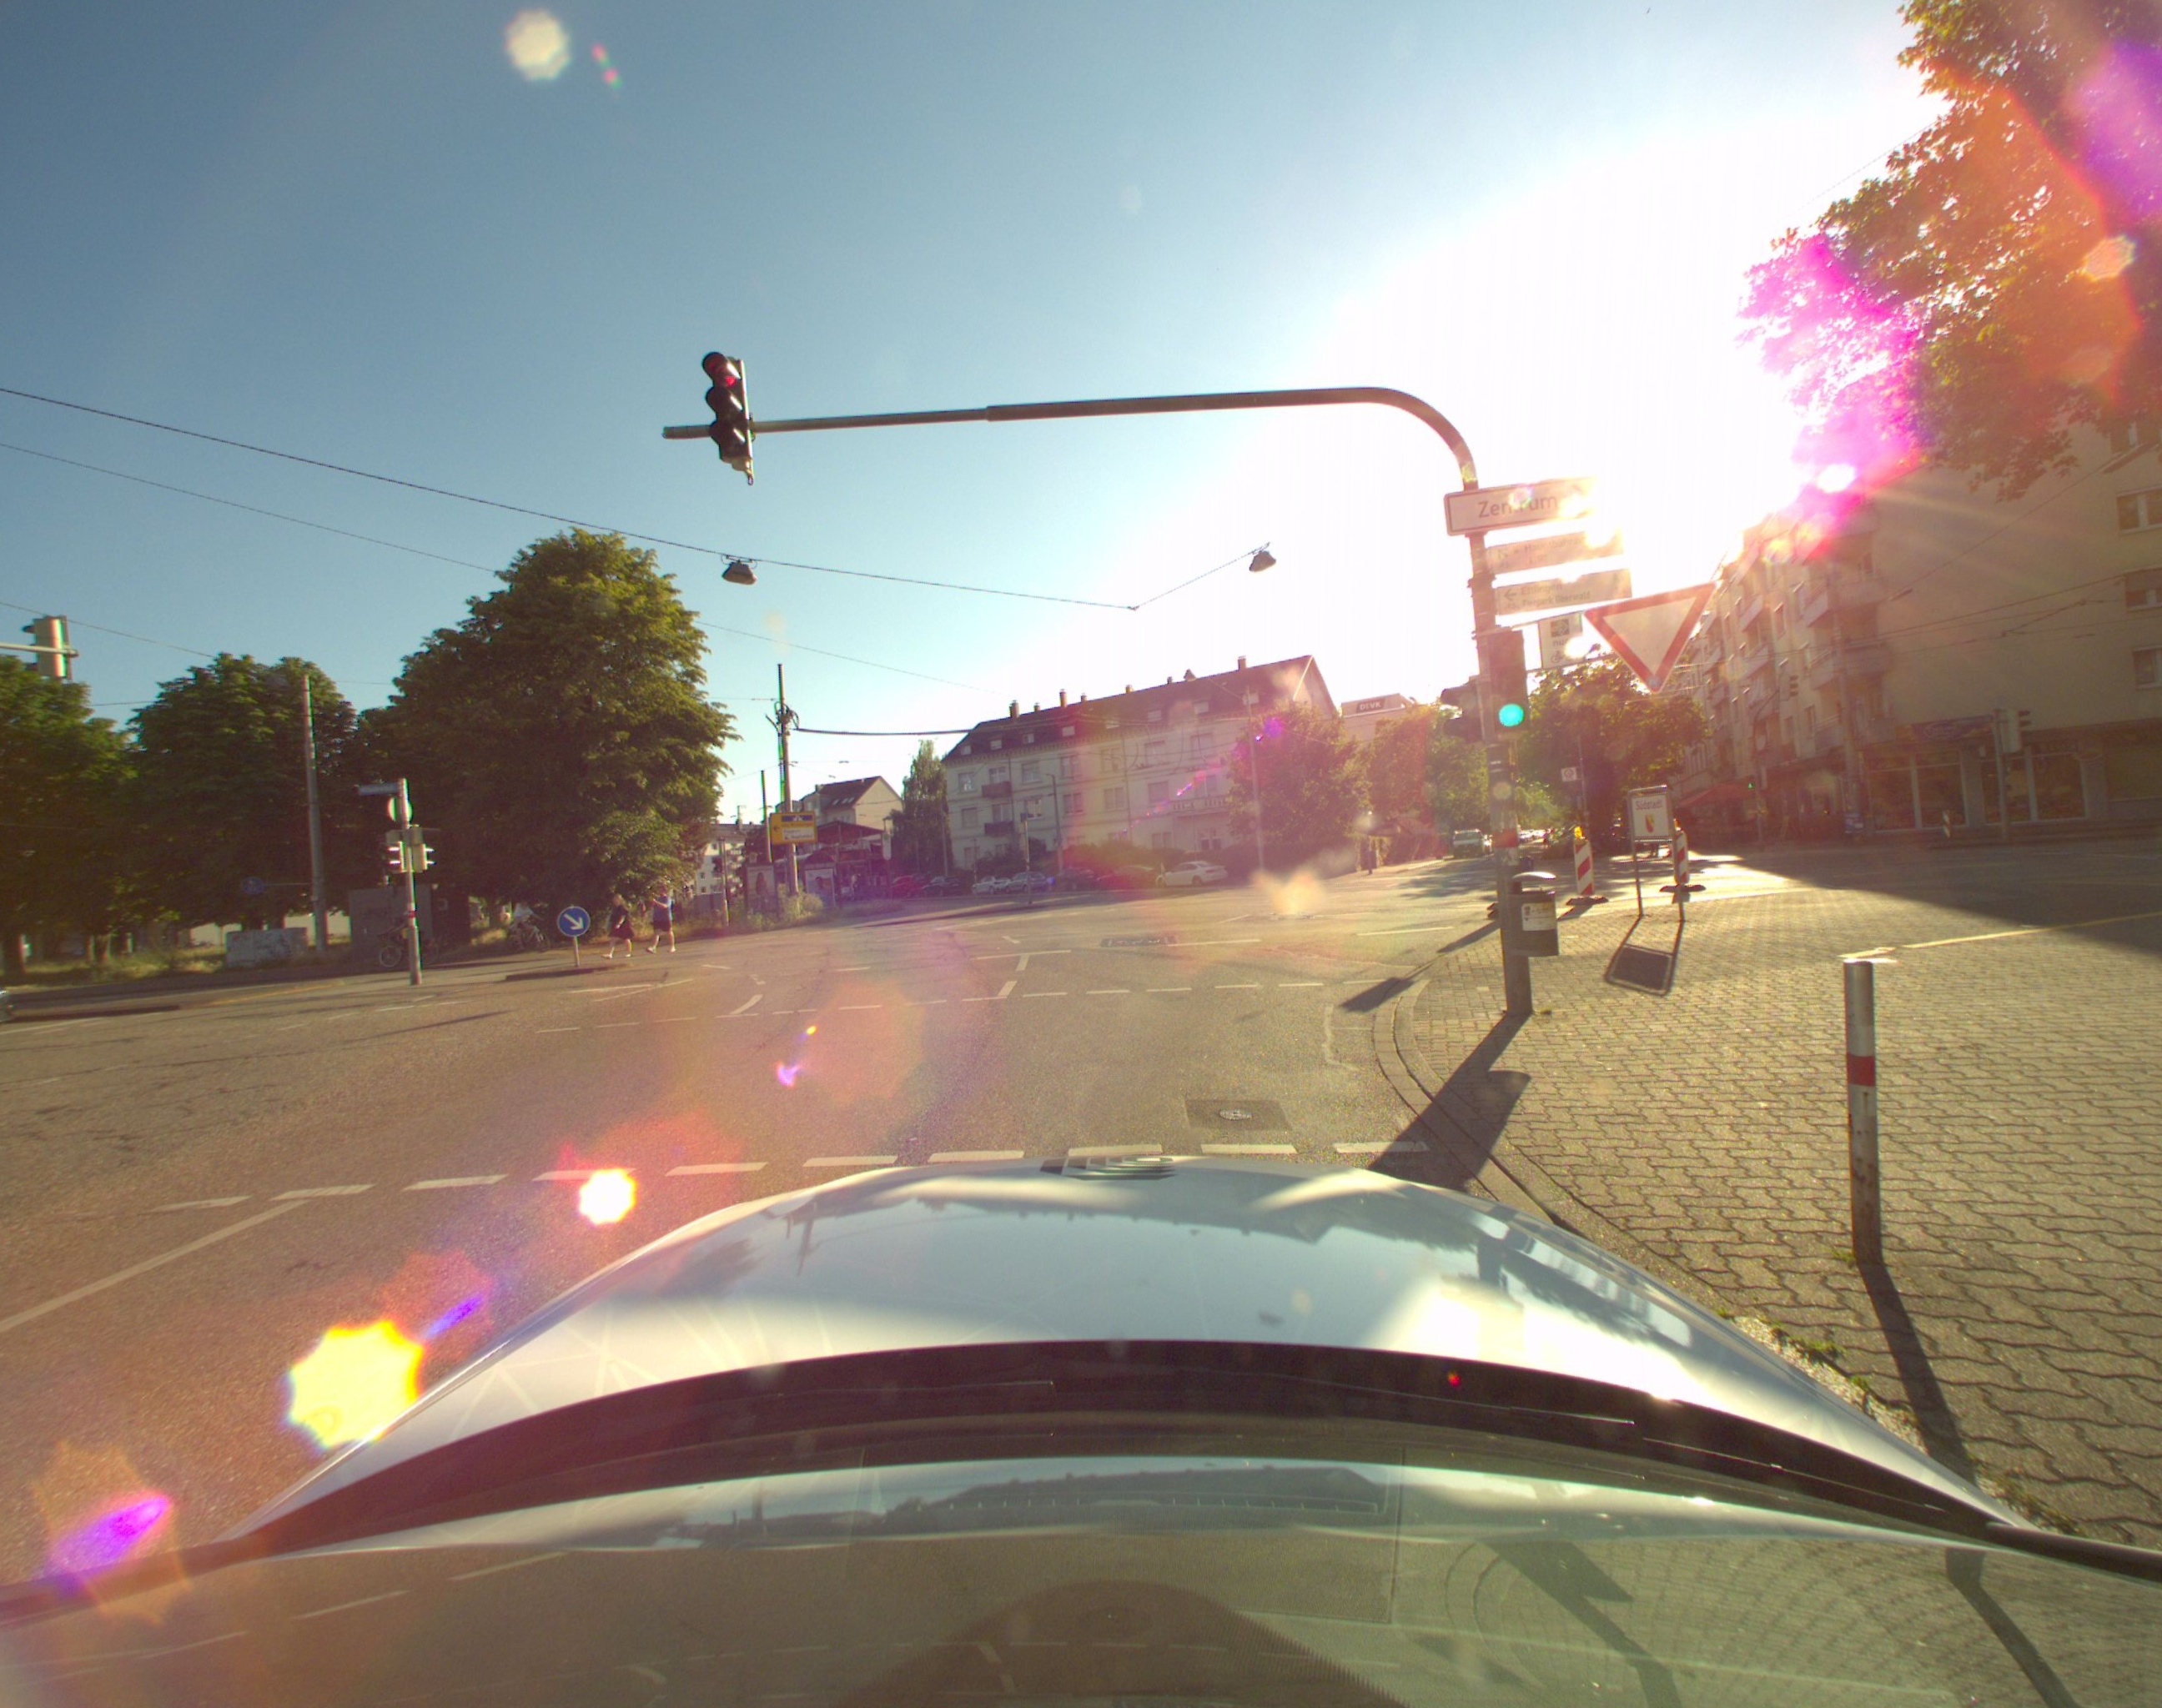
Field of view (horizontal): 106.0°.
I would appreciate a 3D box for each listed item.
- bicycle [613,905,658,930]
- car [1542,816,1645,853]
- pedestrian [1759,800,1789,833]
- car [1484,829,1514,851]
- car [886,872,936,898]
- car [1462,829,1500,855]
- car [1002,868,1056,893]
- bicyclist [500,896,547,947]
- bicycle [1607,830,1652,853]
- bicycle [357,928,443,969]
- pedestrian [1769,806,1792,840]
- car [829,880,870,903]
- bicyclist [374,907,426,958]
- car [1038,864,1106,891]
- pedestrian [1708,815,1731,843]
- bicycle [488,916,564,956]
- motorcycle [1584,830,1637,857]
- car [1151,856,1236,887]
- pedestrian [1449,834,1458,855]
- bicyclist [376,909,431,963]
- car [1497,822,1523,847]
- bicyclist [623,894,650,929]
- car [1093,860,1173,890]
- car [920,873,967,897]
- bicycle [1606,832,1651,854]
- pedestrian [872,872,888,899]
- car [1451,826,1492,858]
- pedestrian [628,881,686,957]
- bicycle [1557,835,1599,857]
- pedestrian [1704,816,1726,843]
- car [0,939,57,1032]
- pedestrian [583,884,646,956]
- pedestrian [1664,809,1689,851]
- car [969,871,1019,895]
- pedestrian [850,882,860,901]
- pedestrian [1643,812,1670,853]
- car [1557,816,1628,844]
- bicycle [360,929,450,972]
[{"bbox_3d":[-22.416,3.182,41.019,0.656,1.069,2.029,-5,-1,20],"label":"bicycle"},{"bbox_3d":[34.029,-1.218,54.349,5.567,1.924,2.377,-5,-3,28],"label":"car"},{"bbox_3d":[34.236,-1.840,40.227,0.804,1.545,0.919,-5,-2,25],"label":"pedestrian"},{"bbox_3d":[39.730,-1.331,77.347,2.332,1.795,5.342,-5,-1,28],"label":"car"},{"bbox_3d":[-15.181,2.807,72.428,2.067,1.961,5.091,-6,1,-39],"label":"car"},{"bbox_3d":[31.702,-0.947,64.427,2.332,1.795,5.342,-5,-1,28],"label":"car"},{"bbox_3d":[-3.728,1.893,57.784,1.998,1.447,3.676,-6,1,-39],"label":"car"},{"bbox_3d":[-19.194,2.322,28.061,1.033,1.629,0.715,-4,-1,7],"label":"bicyclist"},{"bbox_3d":[26.473,-0.601,39.335,1.707,0.932,0.565,-5,-1,31],"label":"bicycle"},{"bbox_3d":[-22.200,3.068,26.565,2.015,1.069,0.660,-4,-1,-13],"label":"bicycle"},{"bbox_3d":[33.927,-1.507,39.507,0.612,1.591,0.480,-5,-1,15],"label":"pedestrian"},{"bbox_3d":[-23.816,3.875,83.608,2.067,1.961,5.091,-6,1,-39],"label":"car"},{"bbox_3d":[-22.283,2.557,26.658,1.035,1.532,0.658,-4,-1,-13],"label":"bicyclist"},{"bbox_3d":[-0.655,1.599,54.466,1.997,1.447,4.650,-6,1,-39],"label":"car"},{"bbox_3d":[33.378,-1.307,42.588,0.803,1.362,0.920,-6,-2,36],"label":"pedestrian"},{"bbox_3d":[-19.102,2.820,28.049,2.183,1.142,0.702,-5,-1,6],"label":"bicycle"},{"bbox_3d":[24.971,-0.502,38.481,1.933,1.109,0.842,-5,-1,26],"label":"motorcycle"},{"bbox_3d":[6.280,0.993,45.797,1.941,1.376,4.443,-7,1,-40],"label":"car"},{"bbox_3d":[30.888,-0.775,67.485,0.573,1.730,0.612,-5,-1,26],"label":"pedestrian"},{"bbox_3d":[-21.093,2.527,25.358,1.035,1.532,0.695,-4,-1,-13],"label":"bicyclist"},{"bbox_3d":[47.962,-2.156,91.025,2.332,2.514,5.342,-5,-1,28],"label":"car"},{"bbox_3d":[-22.415,2.891,41.044,0.662,1.652,0.891,-5,-1,20],"label":"bicyclist"},{"bbox_3d":[3.136,1.301,49.866,1.999,1.376,4.647,-7,1,-44],"label":"car"},{"bbox_3d":[-11.386,2.601,67.294,1.855,1.668,4.319,-6,1,-39],"label":"car"},{"bbox_3d":[26.873,-0.550,39.998,1.707,0.932,0.565,-5,-1,31],"label":"bicycle"},{"bbox_3d":[-16.195,2.545,65.703,0.928,2.013,0.760,-4,-2,-34],"label":"pedestrian"},{"bbox_3d":[28.397,-0.875,59.123,2.332,2.013,5.342,-5,-1,28],"label":"car"},{"bbox_3d":[-11.452,1.729,22.020,0.909,1.925,1.066,-4,-1,-3],"label":"pedestrian"},{"bbox_3d":[24.924,-0.407,40.874,1.707,0.932,0.676,-5,-1,31],"label":"bicycle"},{"bbox_3d":[34.058,-1.296,43.741,0.803,1.362,0.920,-6,-2,36],"label":"pedestrian"},{"bbox_3d":[-21.390,2.529,14.301,4.415,1.567,2.057,-4,-1,5],"label":"car"},{"bbox_3d":[-12.070,1.685,21.099,0.909,1.747,1.066,-4,-1,-3],"label":"pedestrian"},{"bbox_3d":[25.911,-1.030,35.447,0.684,1.750,0.800,-5,-1,42],"label":"pedestrian"},{"bbox_3d":[-6.570,2.198,61.343,1.855,1.447,3.912,-6,1,-39],"label":"car"},{"bbox_3d":[-18.515,3.090,66.673,0.569,1.500,0.672,-4,-1,-27],"label":"pedestrian"},{"bbox_3d":[25.588,-0.955,36.219,0.799,1.750,0.710,-3,-1,-43],"label":"pedestrian"},{"bbox_3d":[44.692,-2.106,71.299,5.042,1.924,2.377,-5,-3,28],"label":"car"},{"bbox_3d":[-21.015,2.982,25.354,2.015,1.069,0.660,-4,-1,-14],"label":"bicycle"}]
